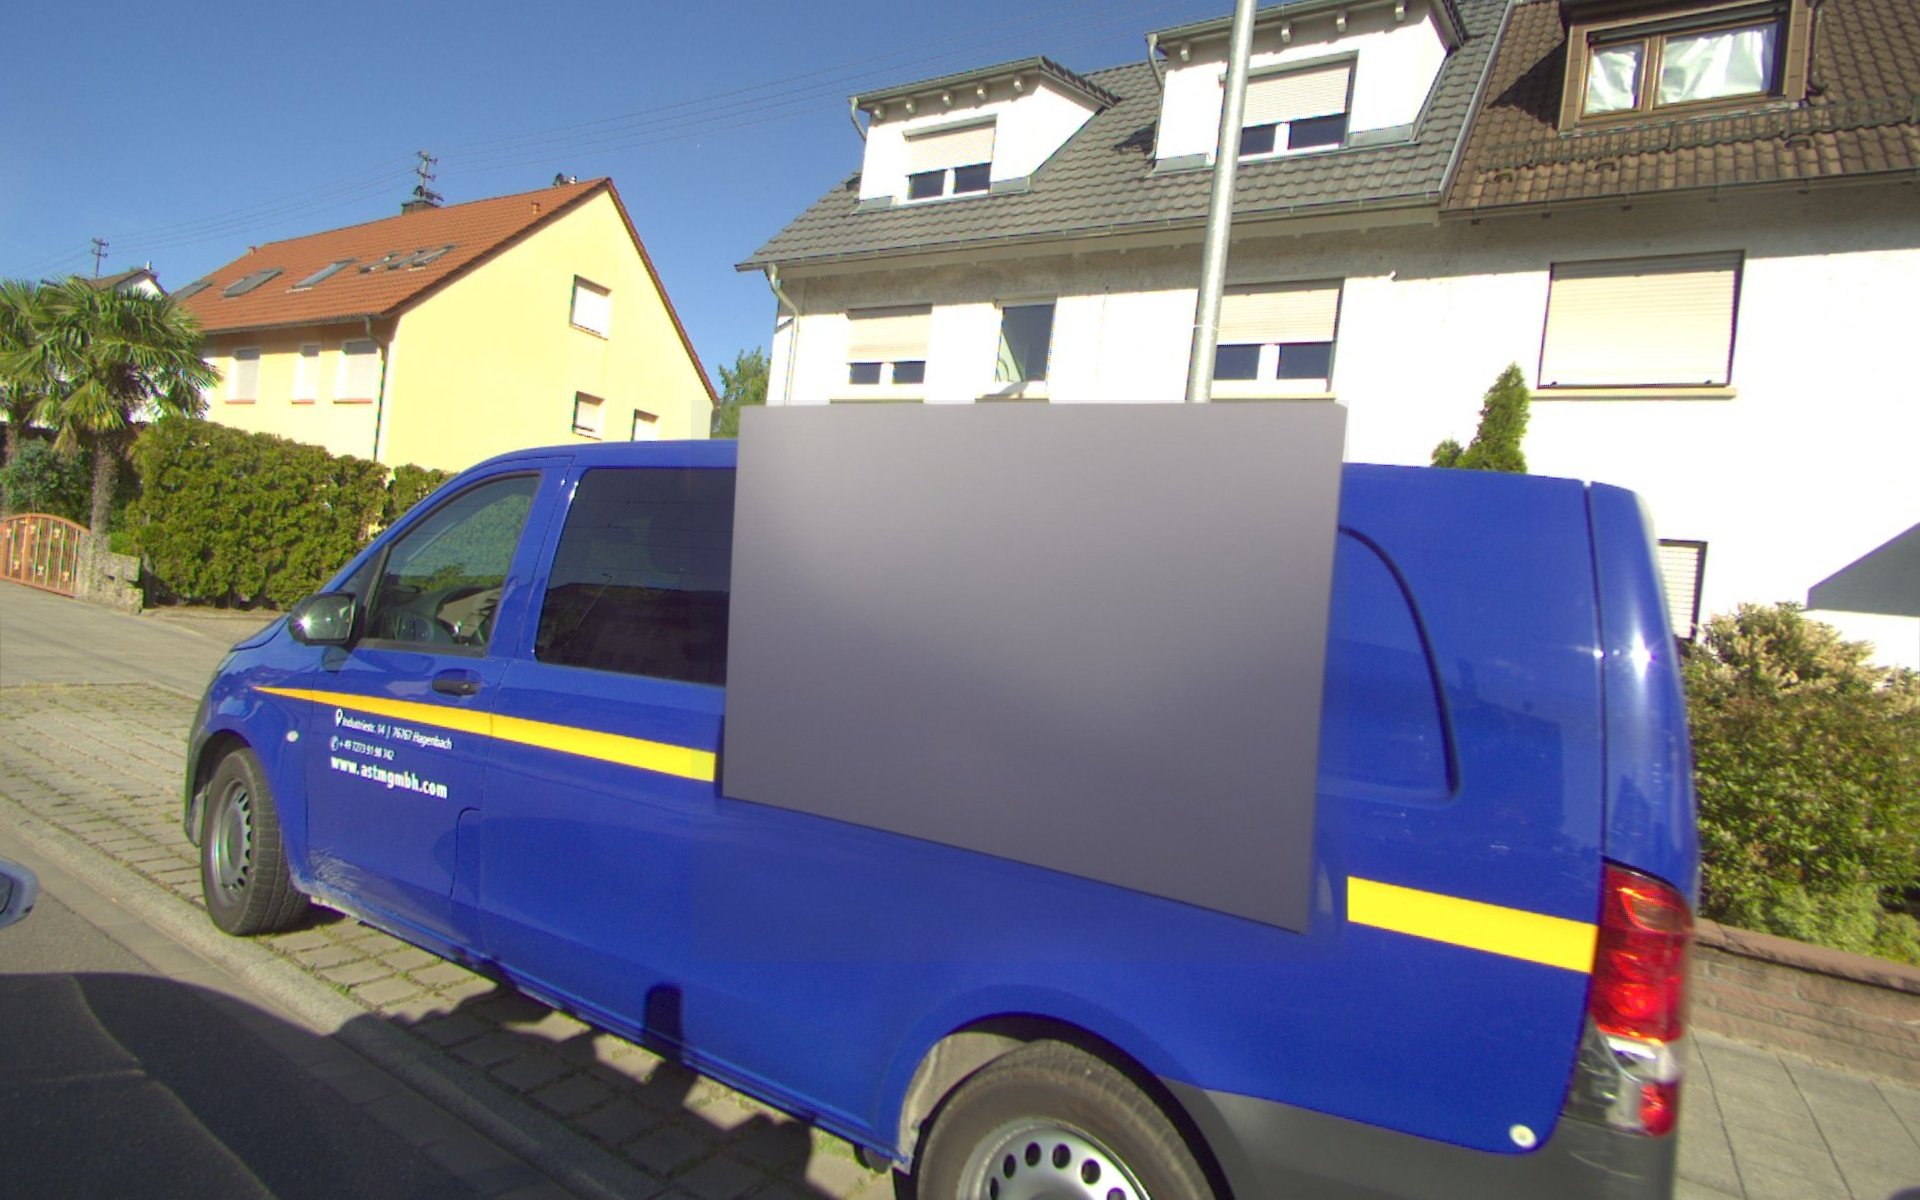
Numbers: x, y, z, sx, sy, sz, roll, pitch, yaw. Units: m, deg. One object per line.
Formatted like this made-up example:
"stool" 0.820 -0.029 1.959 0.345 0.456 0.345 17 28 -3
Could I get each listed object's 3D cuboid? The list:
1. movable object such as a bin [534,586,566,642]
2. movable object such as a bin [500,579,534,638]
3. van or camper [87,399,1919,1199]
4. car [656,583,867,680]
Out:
"movable object such as a bin" -7.192 0.242 17.668 0.331 0.936 0.241 7 -1 17
"movable object such as a bin" -7.664 0.146 17.410 0.399 0.961 0.240 7 -1 29
"van or camper" -0.608 0.500 3.458 5.490 1.869 1.951 6 0 31
"car" -3.654 0.663 19.221 1.783 1.437 3.892 6 -2 28
